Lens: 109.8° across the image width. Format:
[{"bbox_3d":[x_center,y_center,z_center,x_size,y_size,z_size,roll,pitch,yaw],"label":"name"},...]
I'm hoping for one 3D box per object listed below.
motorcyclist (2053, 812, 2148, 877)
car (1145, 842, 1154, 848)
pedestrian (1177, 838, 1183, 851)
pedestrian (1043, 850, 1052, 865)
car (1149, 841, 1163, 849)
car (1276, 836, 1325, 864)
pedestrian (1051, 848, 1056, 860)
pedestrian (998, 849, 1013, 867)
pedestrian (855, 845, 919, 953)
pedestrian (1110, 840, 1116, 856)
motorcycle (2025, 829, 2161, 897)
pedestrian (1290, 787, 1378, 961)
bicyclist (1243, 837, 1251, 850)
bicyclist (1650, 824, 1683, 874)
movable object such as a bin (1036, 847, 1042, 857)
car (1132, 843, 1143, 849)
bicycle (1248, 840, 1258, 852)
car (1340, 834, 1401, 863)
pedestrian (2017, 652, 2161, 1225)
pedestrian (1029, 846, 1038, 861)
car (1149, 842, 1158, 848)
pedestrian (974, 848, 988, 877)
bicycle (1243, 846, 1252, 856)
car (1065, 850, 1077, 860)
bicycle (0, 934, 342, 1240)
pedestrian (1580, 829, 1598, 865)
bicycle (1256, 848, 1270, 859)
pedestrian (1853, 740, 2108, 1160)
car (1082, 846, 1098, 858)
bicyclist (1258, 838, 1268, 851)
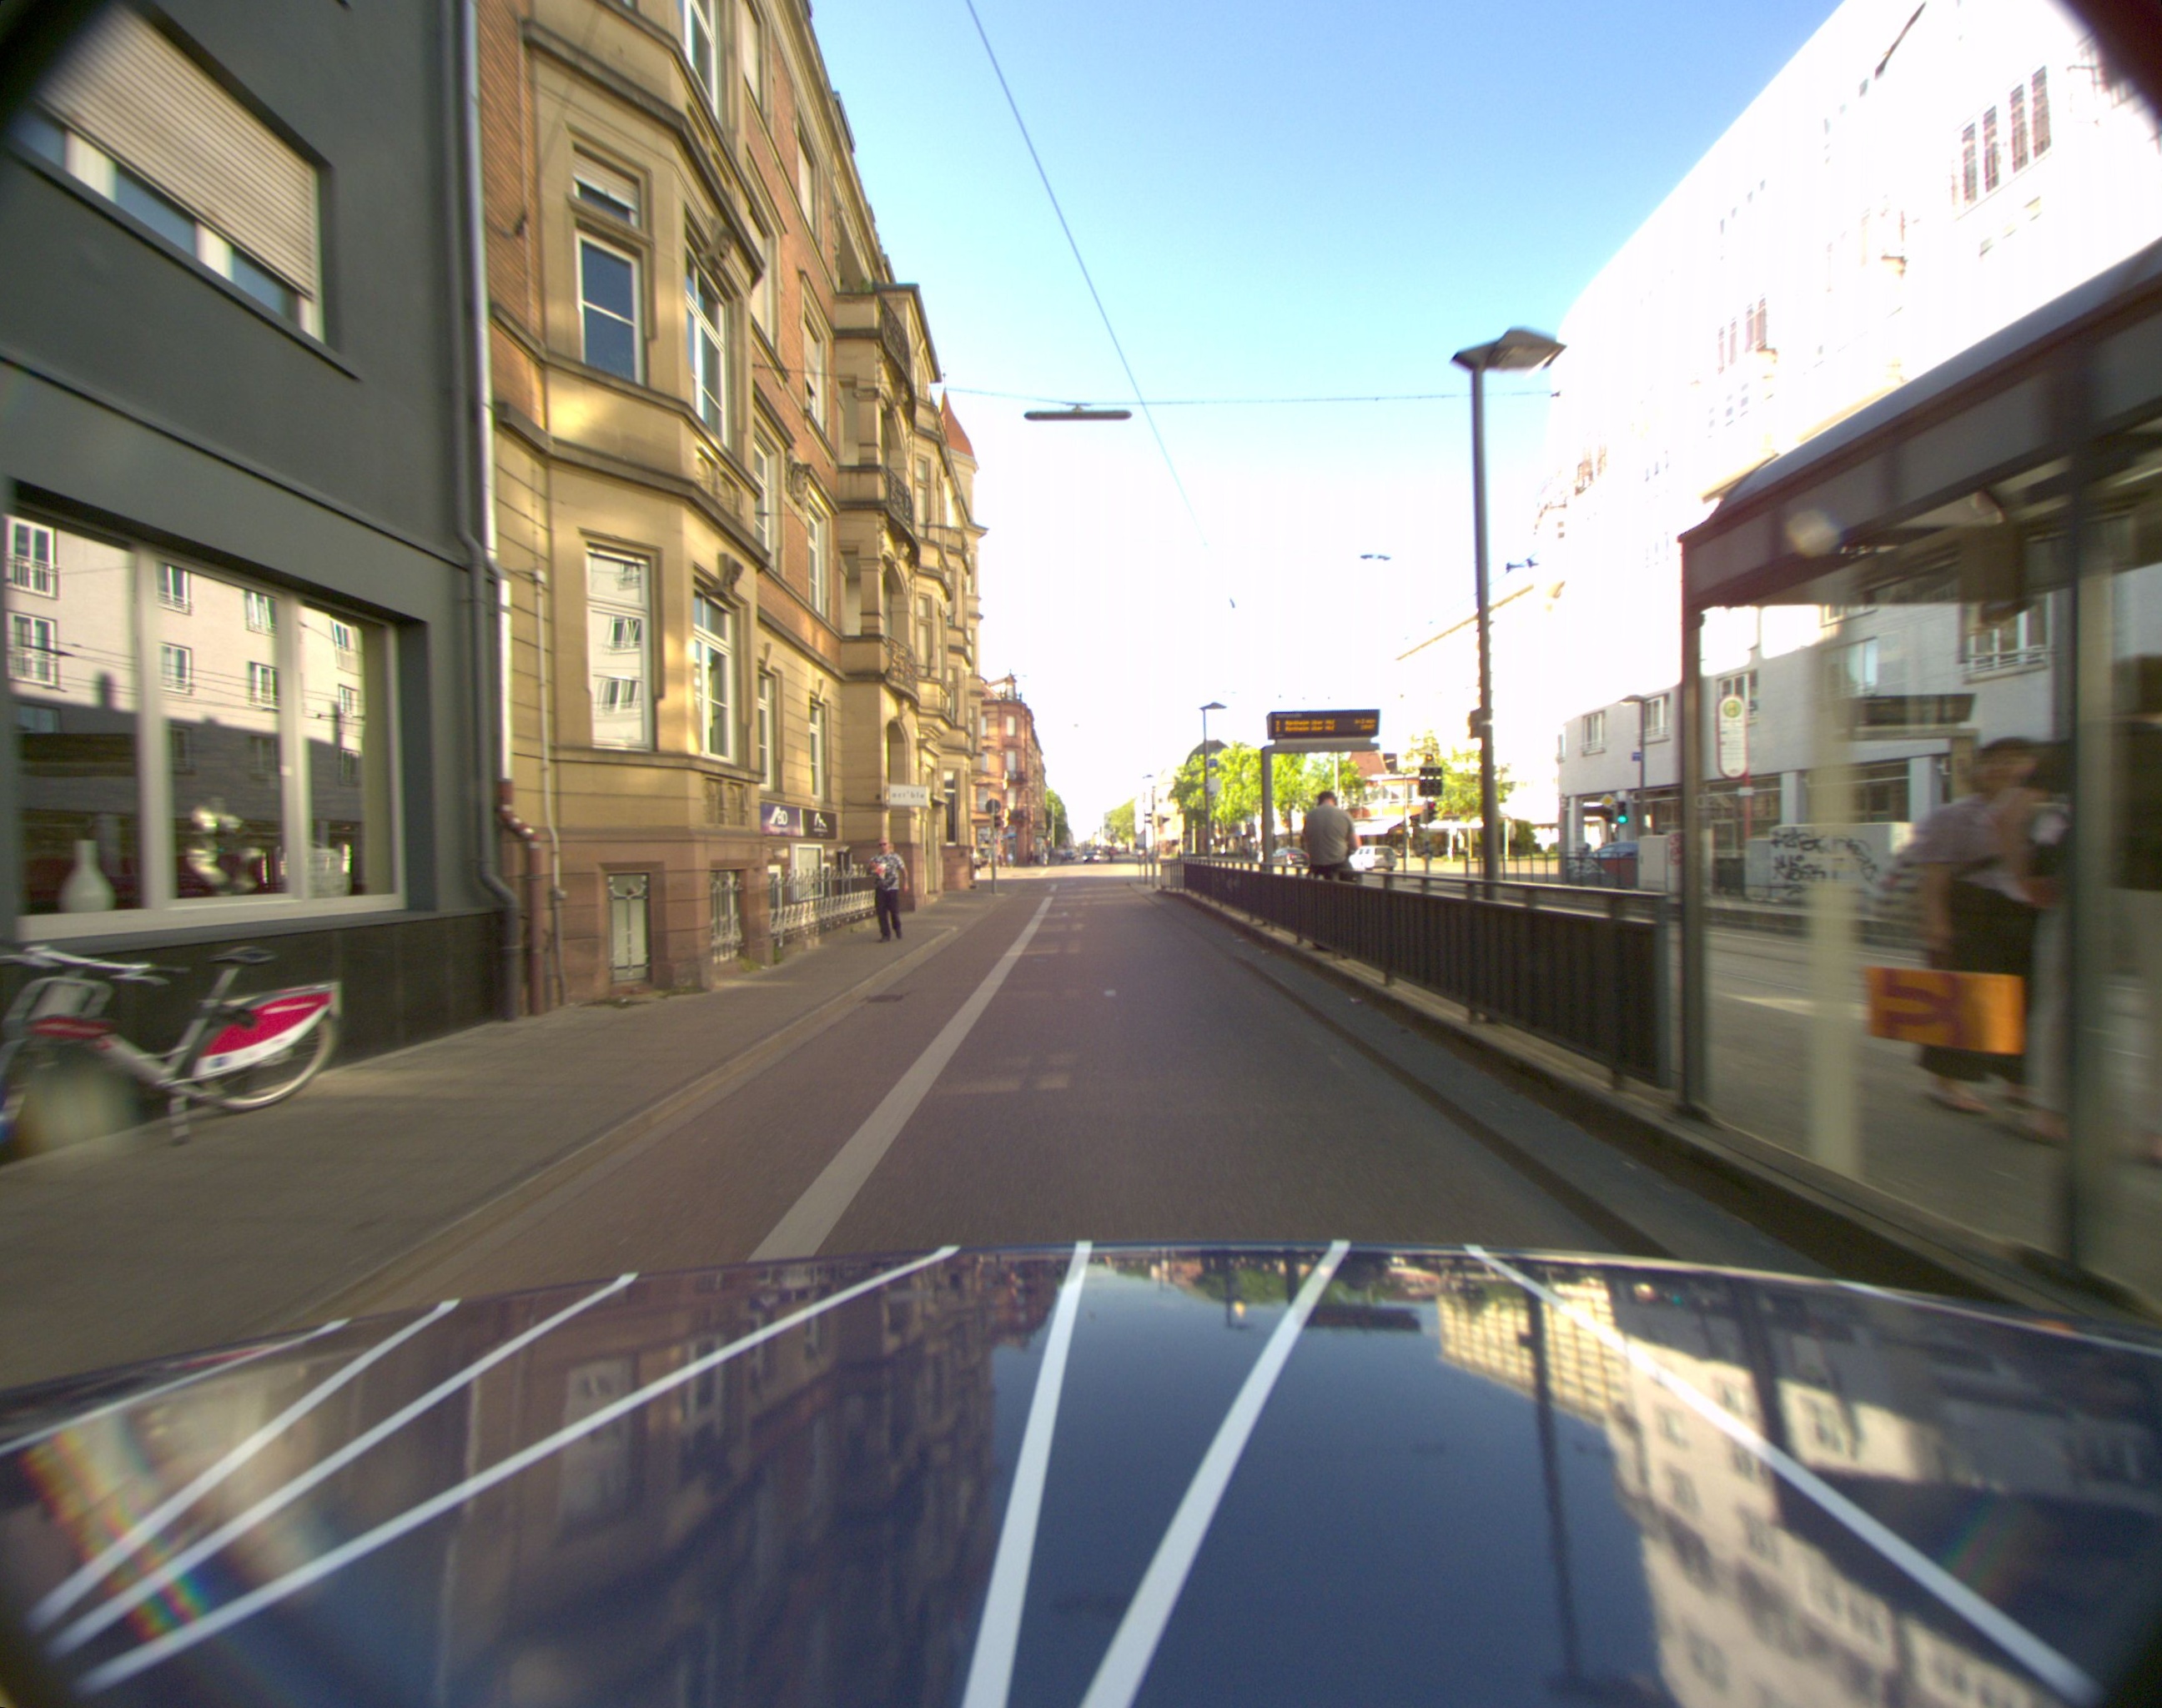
[{"bbox_3d":[17.803,-0.177,13.290,0.560,1.068,0.827,-3,2,1],"label":"motorcyclist"},{"bbox_3d":[17.797,-2.268,197.031,1.856,1.445,3.852,-2,1,0],"label":"car"},{"bbox_3d":[11.604,-1.092,89.069,0.501,1.509,0.859,0,1,0],"label":"pedestrian"},{"bbox_3d":[-3.736,0.383,85.291,0.684,1.598,0.729,-2,2,-30],"label":"pedestrian"},{"bbox_3d":[13.522,-1.591,137.361,1.999,1.443,4.648,-1,1,-1],"label":"car"},{"bbox_3d":[16.016,-0.331,55.739,2.233,1.900,4.607,-2,1,-1],"label":"car"},{"bbox_3d":[-4.456,-0.015,123.612,0.686,1.901,1.063,-3,2,3],"label":"pedestrian"},{"bbox_3d":[-6.889,0.367,68.985,0.939,1.623,0.927,1,3,37],"label":"pedestrian"},{"bbox_3d":[-3.273,0.736,12.904,0.782,1.739,1.093,-2,0,-2],"label":"pedestrian"},{"bbox_3d":[3.678,-0.691,87.383,0.559,1.753,0.895,0,1,0],"label":"pedestrian"},{"bbox_3d":[17.821,0.115,13.212,0.560,1.068,1.844,-3,2,2],"label":"motorcycle"},{"bbox_3d":[2.612,0.185,7.924,0.637,1.688,0.933,-3,2,8],"label":"pedestrian"},{"bbox_3d":[17.414,-1.096,79.686,0.590,1.278,0.926,-1,2,1],"label":"bicyclist"},{"bbox_3d":[20.391,-0.187,26.476,0.722,1.686,1.031,-1,2,28],"label":"bicyclist"},{"bbox_3d":[-4.883,-0.231,88.027,0.664,1.066,0.545,1,2,2],"label":"movable object such as a bin"},{"bbox_3d":[13.625,-1.996,183.448,1.999,1.443,4.500,-1,1,-1],"label":"car"},{"bbox_3d":[18.486,-0.867,81.738,0.498,1.180,2.234,-1,1,-1],"label":"bicycle"},{"bbox_3d":[16.338,-0.321,43.170,1.733,1.506,4.403,-2,1,-1],"label":"car"},{"bbox_3d":[3.673,0.258,2.436,0.717,1.767,0.566,0,2,36],"label":"pedestrian"},{"bbox_3d":[-4.840,-0.026,77.987,0.633,1.529,0.942,-1,2,13],"label":"pedestrian"},{"bbox_3d":[17.888,-2.177,187.372,1.753,1.445,3.470,-2,1,-1],"label":"car"},{"bbox_3d":[-5.895,0.490,44.860,0.702,1.645,0.631,-1,2,1],"label":"pedestrian"},{"bbox_3d":[17.439,-0.317,79.598,0.595,0.967,1.817,-1,2,1],"label":"bicycle"},{"bbox_3d":[-1.578,0.073,121.945,1.694,1.442,4.359,-3,1,0],"label":"car"},{"bbox_3d":[-4.780,1.060,3.760,0.460,1.116,1.773,0,1,1],"label":"bicycle"},{"bbox_3d":[25.846,-0.352,38.656,0.747,1.822,0.460,-2,0,-38],"label":"pedestrian"},{"bbox_3d":[17.660,-0.028,73.686,0.596,0.967,1.852,-2,2,-9],"label":"bicycle"},{"bbox_3d":[3.678,0.356,3.160,0.585,1.553,0.470,0,2,36],"label":"pedestrian"},{"bbox_3d":[1.122,-0.262,95.608,1.815,1.416,4.153,-3,1,0],"label":"car"},{"bbox_3d":[17.664,-0.905,73.713,0.590,1.278,0.991,-2,2,-9],"label":"bicyclist"}]
